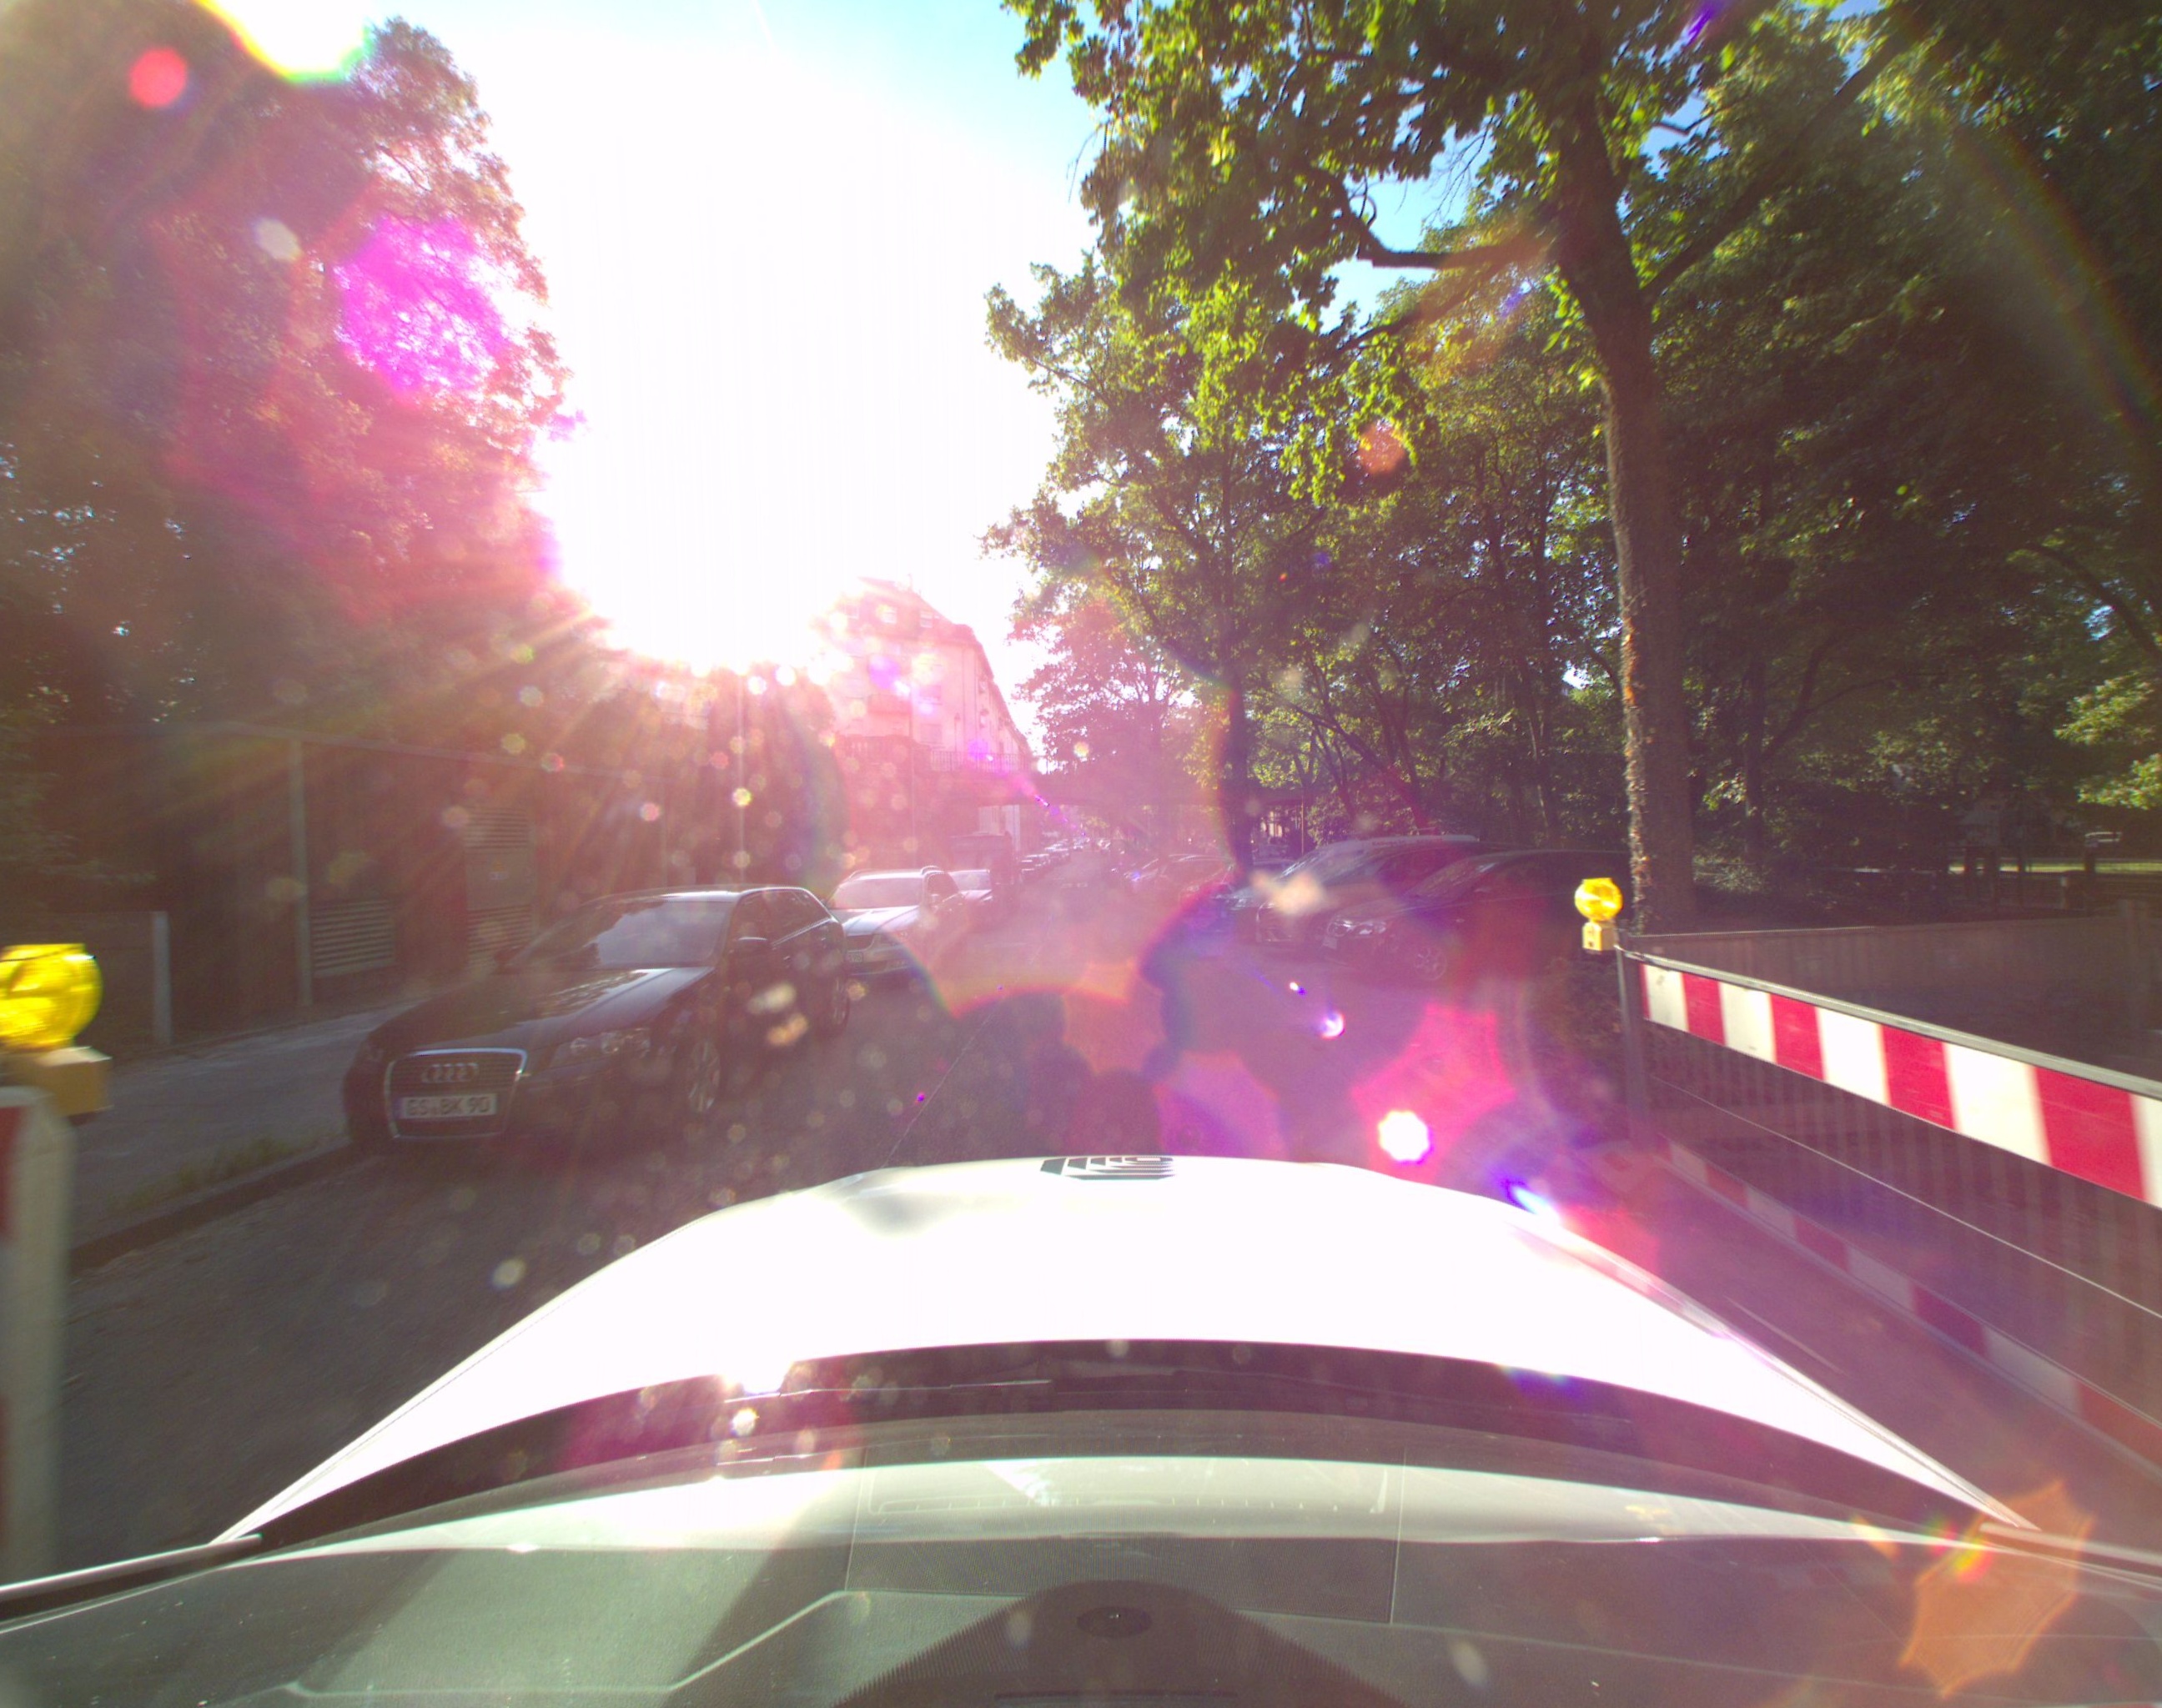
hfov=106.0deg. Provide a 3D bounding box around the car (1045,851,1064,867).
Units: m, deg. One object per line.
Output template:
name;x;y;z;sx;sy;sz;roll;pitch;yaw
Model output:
car;-2.620;0.464;81.744;1.561;1.517;3.784;-2;1;2

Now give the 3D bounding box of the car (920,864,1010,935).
car;-2.777;1.042;20.327;1.695;1.507;4.225;-3;-1;-2

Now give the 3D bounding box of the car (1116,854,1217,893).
car;3.883;0.873;37.371;4.366;1.708;1.904;0;-1;-5

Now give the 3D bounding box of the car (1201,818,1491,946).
car;4.754;0.484;15.057;4.659;1.925;1.871;-4;-1;-2

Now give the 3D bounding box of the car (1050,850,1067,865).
car;-2.433;0.343;88.000;1.697;1.525;3.773;-2;1;0

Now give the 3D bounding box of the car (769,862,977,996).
car;-2.768;0.917;11.987;1.693;1.497;4.551;-3;-1;2

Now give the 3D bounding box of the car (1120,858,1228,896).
car;3.935;0.956;34.859;4.363;1.533;1.875;0;-1;-2

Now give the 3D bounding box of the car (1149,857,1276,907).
car;4.355;0.920;27.342;4.010;1.574;1.586;0;-1;-2

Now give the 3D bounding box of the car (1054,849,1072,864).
car;-2.008;0.265;92.873;1.733;1.479;4.002;-3;1;1

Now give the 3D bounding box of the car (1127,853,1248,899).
car;4.167;0.852;32.301;4.520;1.696;1.906;0;-1;-2

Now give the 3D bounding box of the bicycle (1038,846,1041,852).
bicycle;-8.303;-1.067;162.688;0.703;1.147;1.887;0;-1;-3

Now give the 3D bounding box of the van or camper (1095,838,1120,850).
van or camper;5.414;-1.964;167.838;4.968;2.377;2.183;0;-1;-2

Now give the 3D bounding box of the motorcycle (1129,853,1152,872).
motorcycle;4.462;0.652;61.110;1.586;1.408;0.716;-1;-1;20

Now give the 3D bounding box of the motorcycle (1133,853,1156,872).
motorcycle;4.822;0.656;62.024;1.586;1.408;0.716;-1;-1;20

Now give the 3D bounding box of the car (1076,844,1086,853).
car;0.041;-1.119;151.451;1.662;1.430;4.001;-4;2;1

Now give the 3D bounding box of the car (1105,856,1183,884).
car;3.595;0.907;47.195;4.363;1.577;1.673;0;-1;-2

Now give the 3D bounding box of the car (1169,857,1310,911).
car;4.794;0.898;24.938;3.976;1.574;1.586;0;-1;-2

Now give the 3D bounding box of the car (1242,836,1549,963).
car;4.547;0.645;12.273;3.969;1.758;1.800;0;-1;3

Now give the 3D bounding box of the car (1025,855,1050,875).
car;-3.486;0.866;65.907;1.683;1.441;4.000;-2;1;0

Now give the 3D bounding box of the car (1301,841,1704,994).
car;4.907;0.691;9.834;3.979;1.627;1.796;0;-1;-4

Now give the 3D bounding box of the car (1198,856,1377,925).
car;4.942;0.855;19.851;3.971;1.574;1.666;0;-1;2

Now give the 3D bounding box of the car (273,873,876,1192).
car;-2.997;0.916;6.051;1.693;1.399;4.195;-3;-1;2

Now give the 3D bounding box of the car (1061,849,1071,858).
car;-2.639;-0.114;142.007;1.497;1.434;2.757;-2;1;5

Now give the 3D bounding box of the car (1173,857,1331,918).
car;4.587;0.877;22.208;3.976;1.574;1.586;0;-1;-2

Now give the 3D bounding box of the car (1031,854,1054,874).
car;-3.253;0.865;70.170;1.631;1.466;4.001;-4;1;1

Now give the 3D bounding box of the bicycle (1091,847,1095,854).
bicycle;1.972;-0.578;133.424;0.639;1.100;1.943;0;-1;-1

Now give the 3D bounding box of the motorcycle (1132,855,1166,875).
motorcycle;4.268;0.674;51.075;1.939;1.238;0.897;0;-1;-25

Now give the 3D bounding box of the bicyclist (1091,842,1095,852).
bicyclist;1.962;-1.093;133.498;0.626;1.573;0.802;0;-1;-1

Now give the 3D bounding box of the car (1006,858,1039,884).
car;-3.712;1.094;52.486;1.711;1.464;4.001;-3;1;1

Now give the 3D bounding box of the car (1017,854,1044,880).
car;-3.559;0.909;58.366;1.712;1.708;4.320;-3;1;-2

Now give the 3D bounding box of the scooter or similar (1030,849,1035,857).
scooter or similar;-8.332;-0.156;139.605;0.781;1.222;2.704;0;-1;0

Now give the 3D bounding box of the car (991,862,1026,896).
car;-3.747;1.272;42.529;1.591;1.547;3.911;-3;0;-3

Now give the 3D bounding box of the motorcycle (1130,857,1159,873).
motorcycle;4.398;0.755;56.815;1.839;1.132;0.844;0;-1;-24

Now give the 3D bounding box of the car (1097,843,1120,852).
car;5.319;-1.287;155.313;4.201;1.453;1.651;-3;1;4

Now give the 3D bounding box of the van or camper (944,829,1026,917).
van or camper;-2.987;0.580;26.669;2.231;2.523;6.414;0;-1;-3

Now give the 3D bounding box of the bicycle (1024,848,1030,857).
bicycle;-8.099;-0.272;121.595;0.734;1.206;2.515;0;2;1
